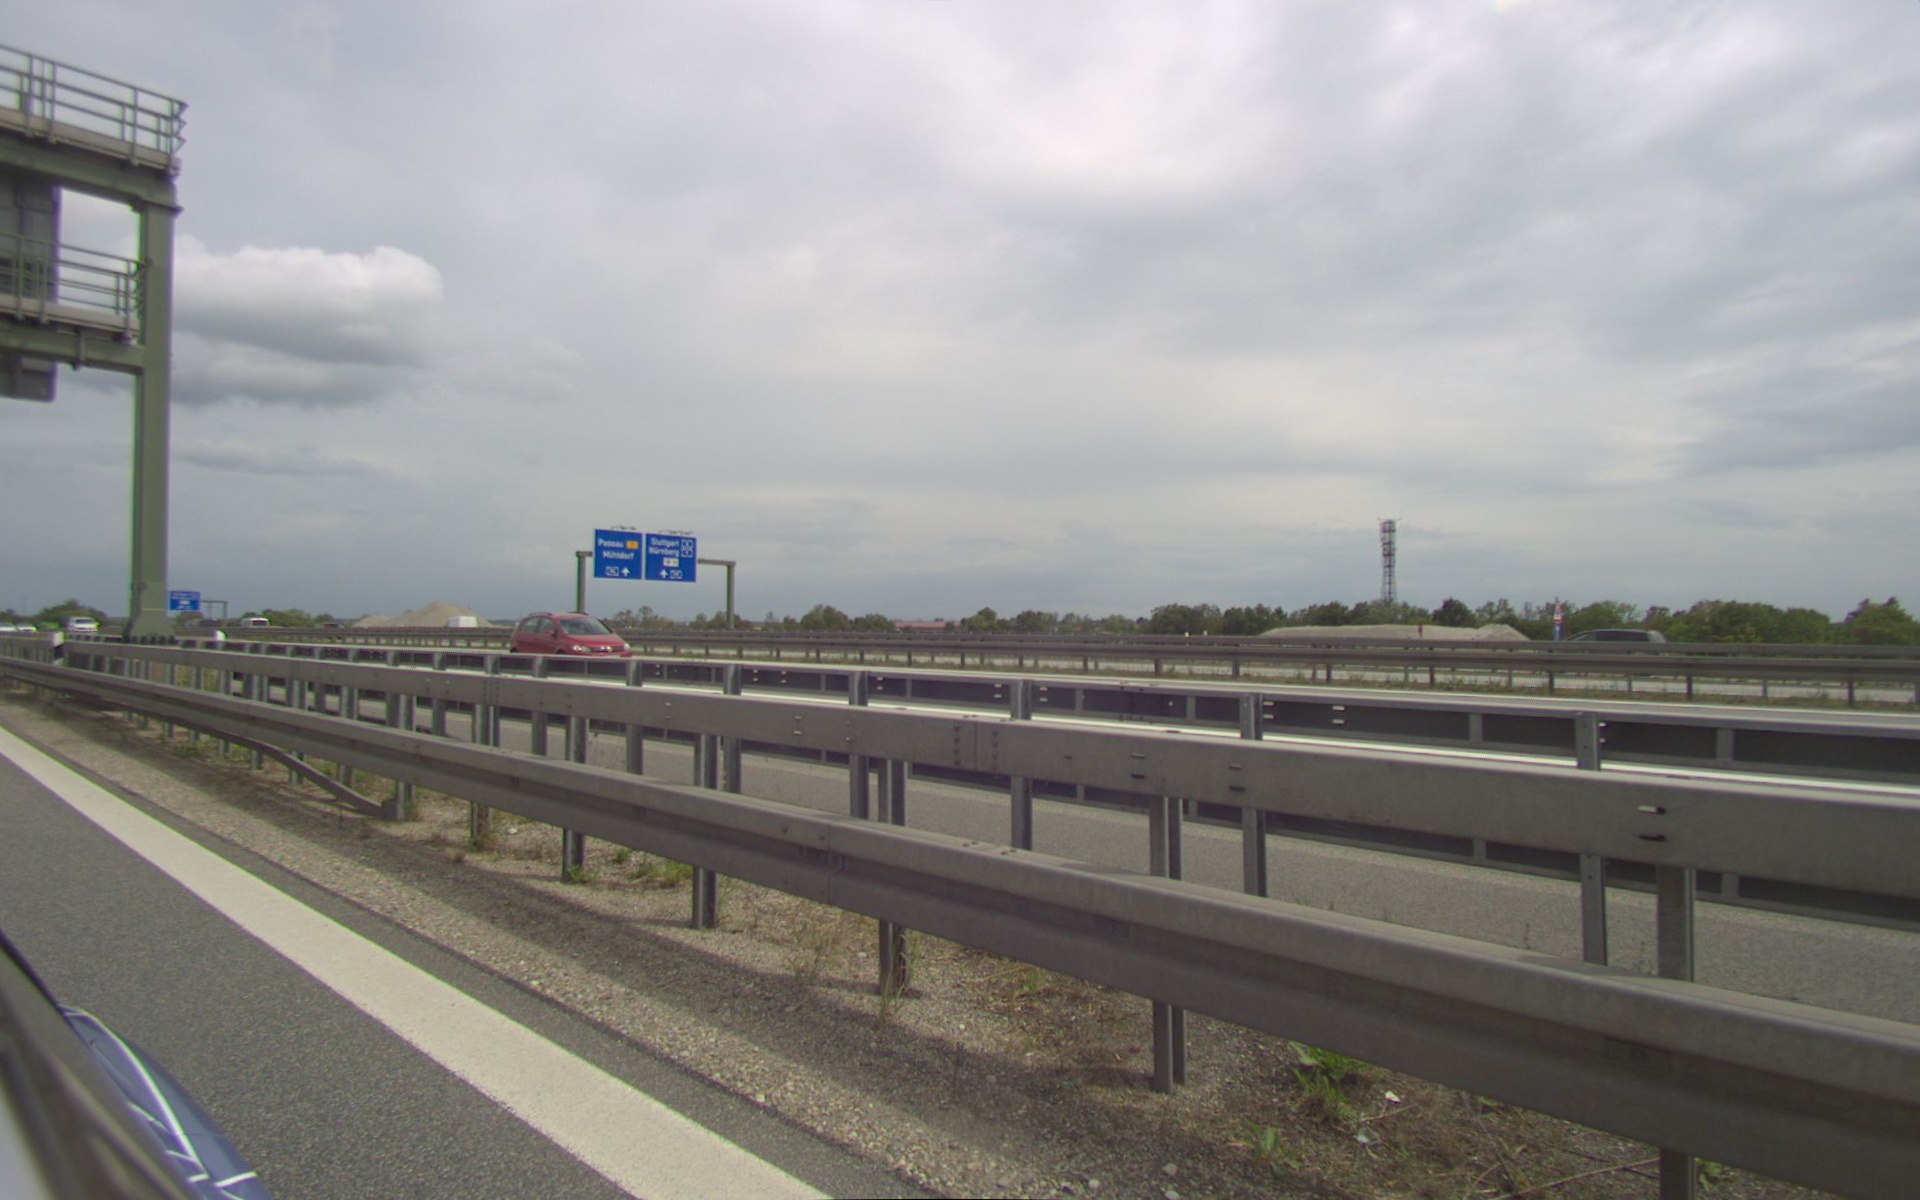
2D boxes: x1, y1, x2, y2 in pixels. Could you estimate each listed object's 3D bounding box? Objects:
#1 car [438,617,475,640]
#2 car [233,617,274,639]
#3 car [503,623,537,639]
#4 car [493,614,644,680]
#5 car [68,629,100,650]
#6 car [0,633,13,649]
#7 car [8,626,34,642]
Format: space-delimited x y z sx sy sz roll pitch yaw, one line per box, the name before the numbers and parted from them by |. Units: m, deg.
car | -53.310 3.011 107.130 4.488 2.323 1.973 -2 -1 42
car | -64.142 2.506 91.900 4.821 1.807 1.891 -1 2 41
car | -45.349 3.231 104.369 3.909 1.506 1.649 -1 2 42
car | -10.214 1.192 26.277 4.351 1.557 1.801 -2 -1 40
car | -89.459 4.043 103.357 4.464 2.029 1.972 -2 -1 42
car | -109.822 4.724 115.550 3.996 1.763 1.974 -2 -1 40
car | -120.561 4.351 129.918 3.996 1.896 1.974 -2 -1 40
